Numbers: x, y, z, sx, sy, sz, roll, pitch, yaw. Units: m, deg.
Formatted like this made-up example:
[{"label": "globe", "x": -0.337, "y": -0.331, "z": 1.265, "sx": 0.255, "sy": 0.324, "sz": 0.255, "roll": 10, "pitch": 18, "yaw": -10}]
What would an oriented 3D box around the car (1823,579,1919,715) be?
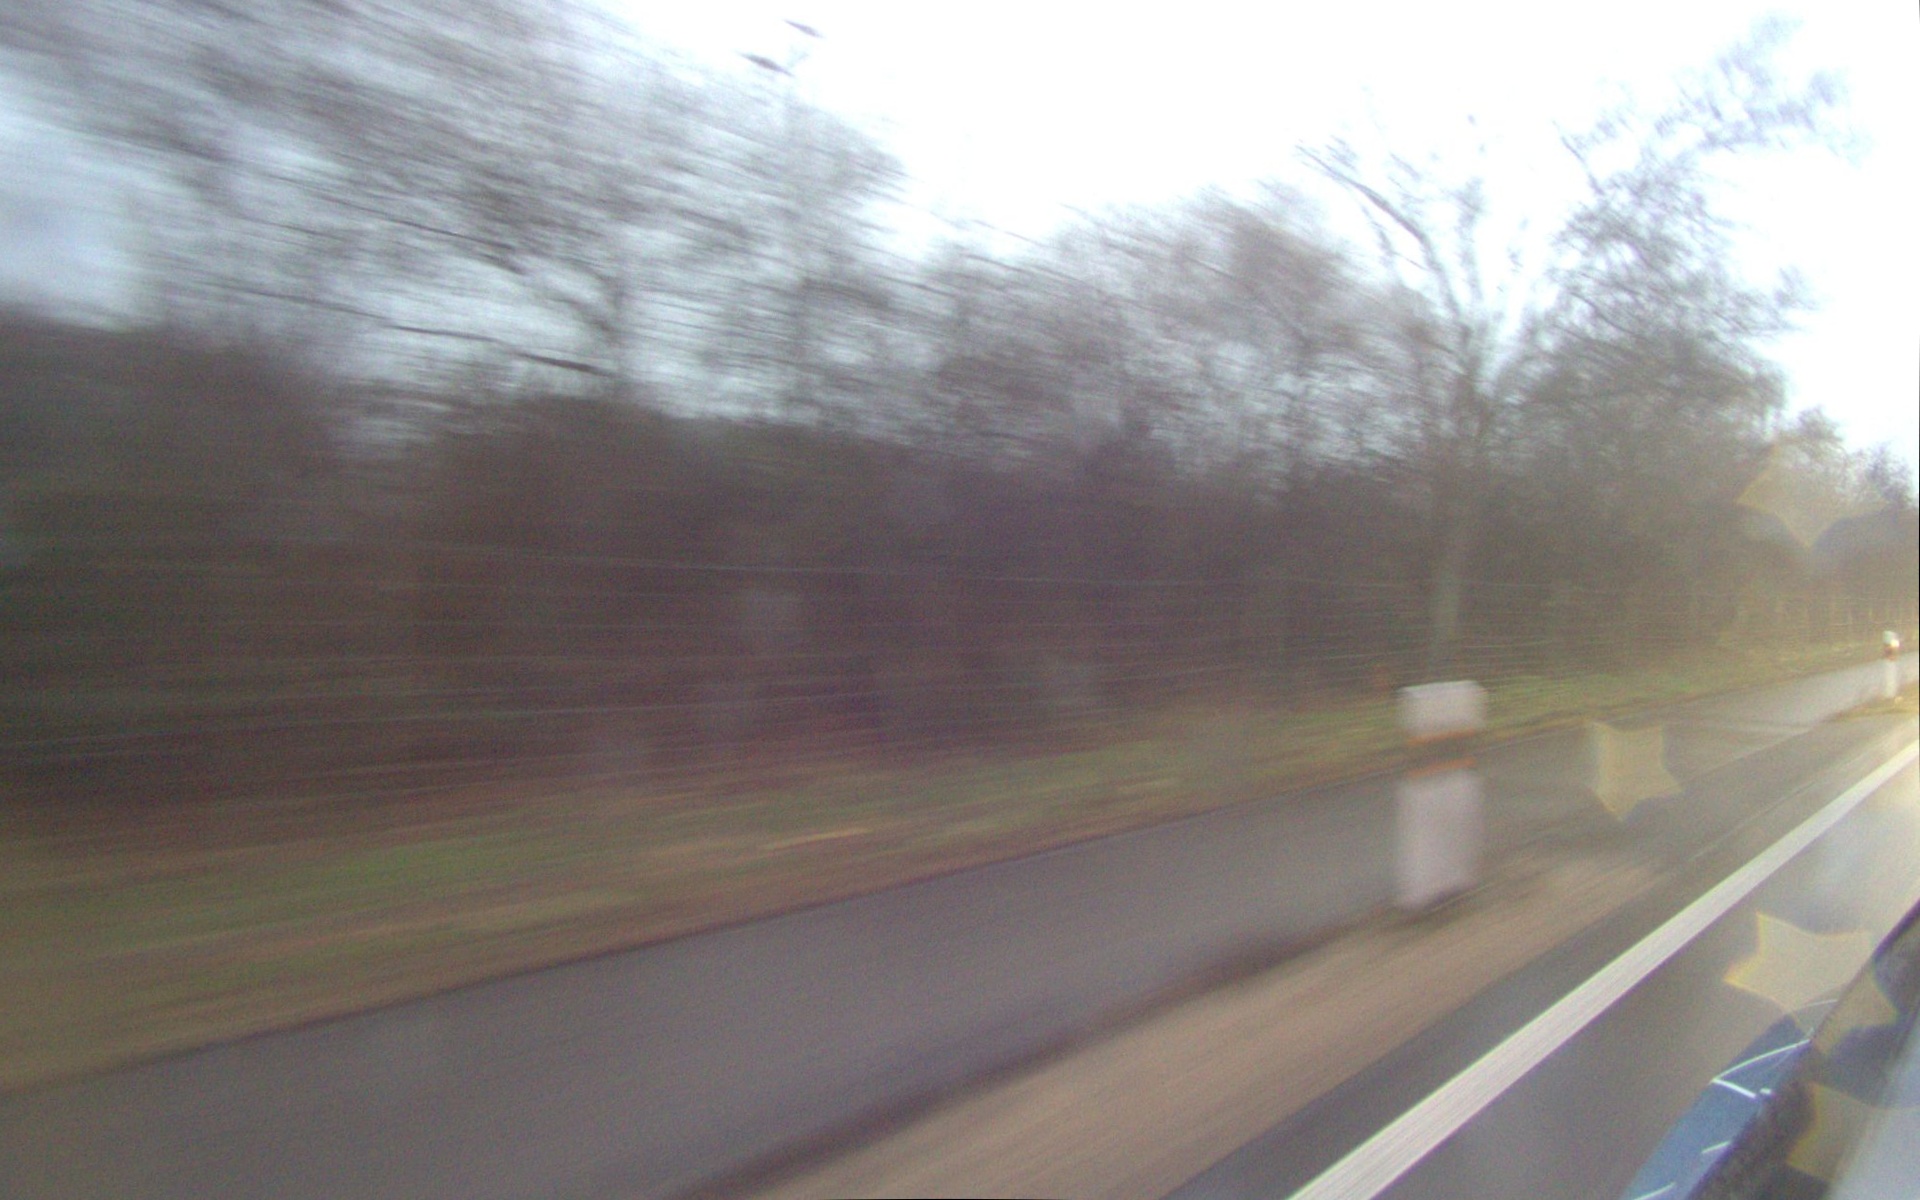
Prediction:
[{"label": "car", "x": 14.003, "y": 0.595, "z": 14.491, "sx": 3.930, "sy": 1.772, "sz": 1.932, "roll": -1, "pitch": 1, "yaw": -41}]
